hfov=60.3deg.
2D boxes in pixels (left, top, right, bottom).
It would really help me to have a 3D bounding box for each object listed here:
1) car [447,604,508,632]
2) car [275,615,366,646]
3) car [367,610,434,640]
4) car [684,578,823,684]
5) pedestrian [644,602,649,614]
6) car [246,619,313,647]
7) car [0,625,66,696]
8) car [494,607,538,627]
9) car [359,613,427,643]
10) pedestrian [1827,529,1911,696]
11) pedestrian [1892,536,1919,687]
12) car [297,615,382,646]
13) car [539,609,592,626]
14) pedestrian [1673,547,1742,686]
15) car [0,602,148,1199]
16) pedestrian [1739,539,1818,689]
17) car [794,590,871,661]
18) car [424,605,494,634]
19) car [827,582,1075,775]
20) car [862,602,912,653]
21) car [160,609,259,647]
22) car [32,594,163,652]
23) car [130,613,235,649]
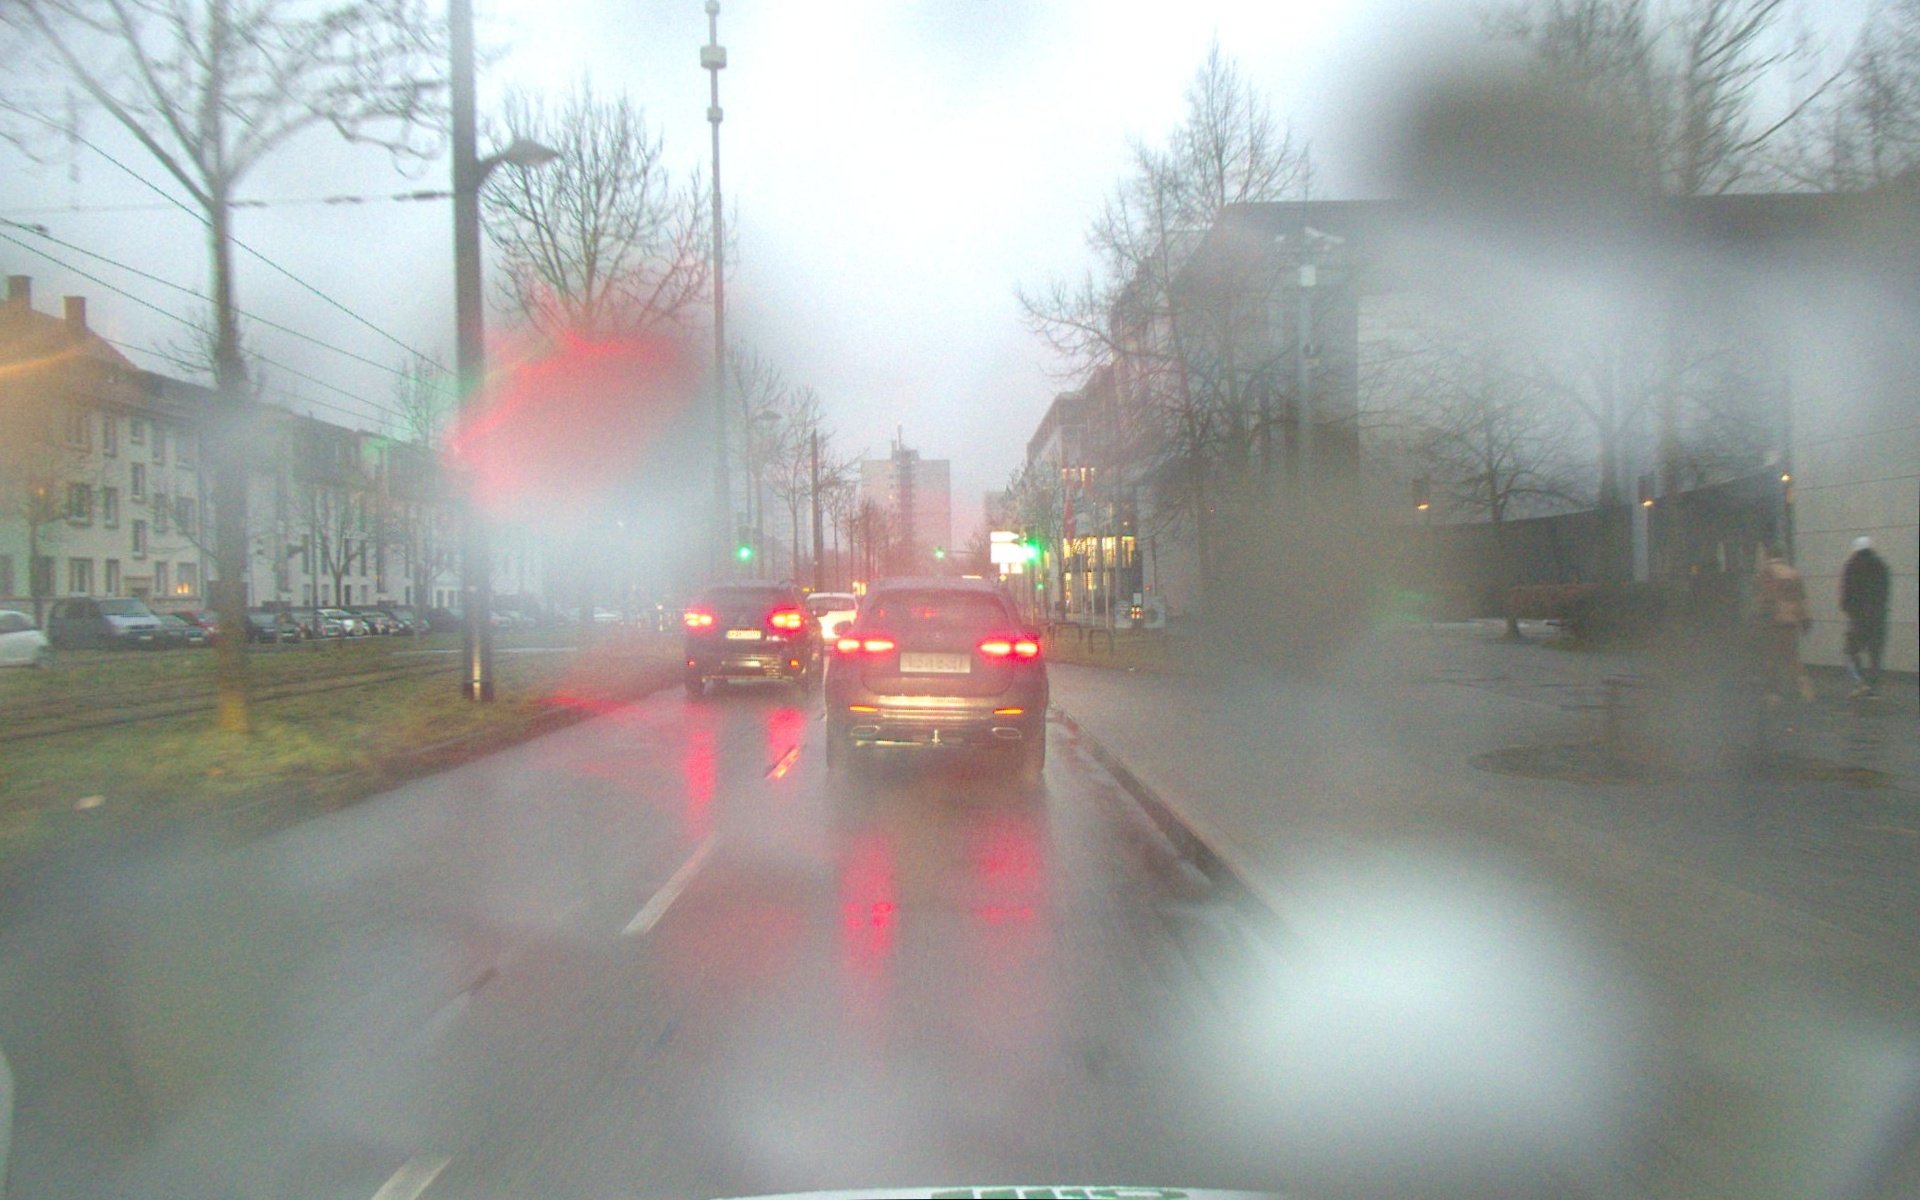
[{"bbox_3d":[-28.981,1.070,99.235,3.779,1.616,1.732,0,0,41],"label":"car"},{"bbox_3d":[-27.484,1.298,71.085,3.740,1.193,1.733,1,0,32],"label":"car"},{"bbox_3d":[-28.344,1.261,83.792,3.320,1.446,1.662,0,0,38],"label":"car"},{"bbox_3d":[-3.082,0.444,25.365,1.781,1.476,3.998,1,0,-3],"label":"car"},{"bbox_3d":[-31.779,0.853,167.634,0.343,1.205,0.427,1,-1,-42],"label":"pedestrian"},{"bbox_3d":[-27.761,1.343,67.498,2.341,1.067,1.433,1,1,32],"label":"car"},{"bbox_3d":[-22.118,1.373,37.610,1.514,1.530,3.783,1,0,0],"label":"car"},{"bbox_3d":[-28.680,1.093,106.816,2.835,1.225,1.381,0,0,41],"label":"car"},{"bbox_3d":[-27.743,1.364,80.901,2.874,1.359,1.733,1,0,32],"label":"car"},{"bbox_3d":[10.015,0.133,18.240,0.658,1.809,0.615,0,0,13],"label":"pedestrian"},{"bbox_3d":[10.995,0.119,18.322,0.654,1.684,0.993,-2,-1,-6],"label":"pedestrian"},{"bbox_3d":[-27.674,1.360,73.741,3.766,1.267,1.731,1,0,35],"label":"car"},{"bbox_3d":[-29.099,1.301,122.087,3.464,1.221,1.878,1,0,31],"label":"car"},{"bbox_3d":[9.057,0.196,20.048,0.658,1.653,0.615,0,0,14],"label":"pedestrian"},{"bbox_3d":[-2.473,0.747,1.383,1.654,1.500,4.000,1,0,-1],"label":"car"},{"bbox_3d":[9.092,0.152,18.389,0.658,1.640,0.615,0,0,13],"label":"pedestrian"},{"bbox_3d":[-3.071,0.598,40.423,1.655,1.664,3.473,1,0,-1],"label":"car"},{"bbox_3d":[-28.288,1.071,93.389,4.079,1.568,1.664,0,0,36],"label":"car"},{"bbox_3d":[-0.101,0.633,14.959,1.953,1.509,3.699,1,0,-1],"label":"car"},{"bbox_3d":[-2.635,0.990,60.153,1.628,1.790,3.568,1,-1,0],"label":"car"},{"bbox_3d":[-27.768,1.024,61.187,3.504,1.332,1.682,1,0,32],"label":"car"},{"bbox_3d":[-28.399,0.732,54.433,4.561,1.754,1.828,1,0,33],"label":"car"},{"bbox_3d":[-27.598,1.093,58.681,3.495,1.161,1.733,1,0,32],"label":"car"}]
